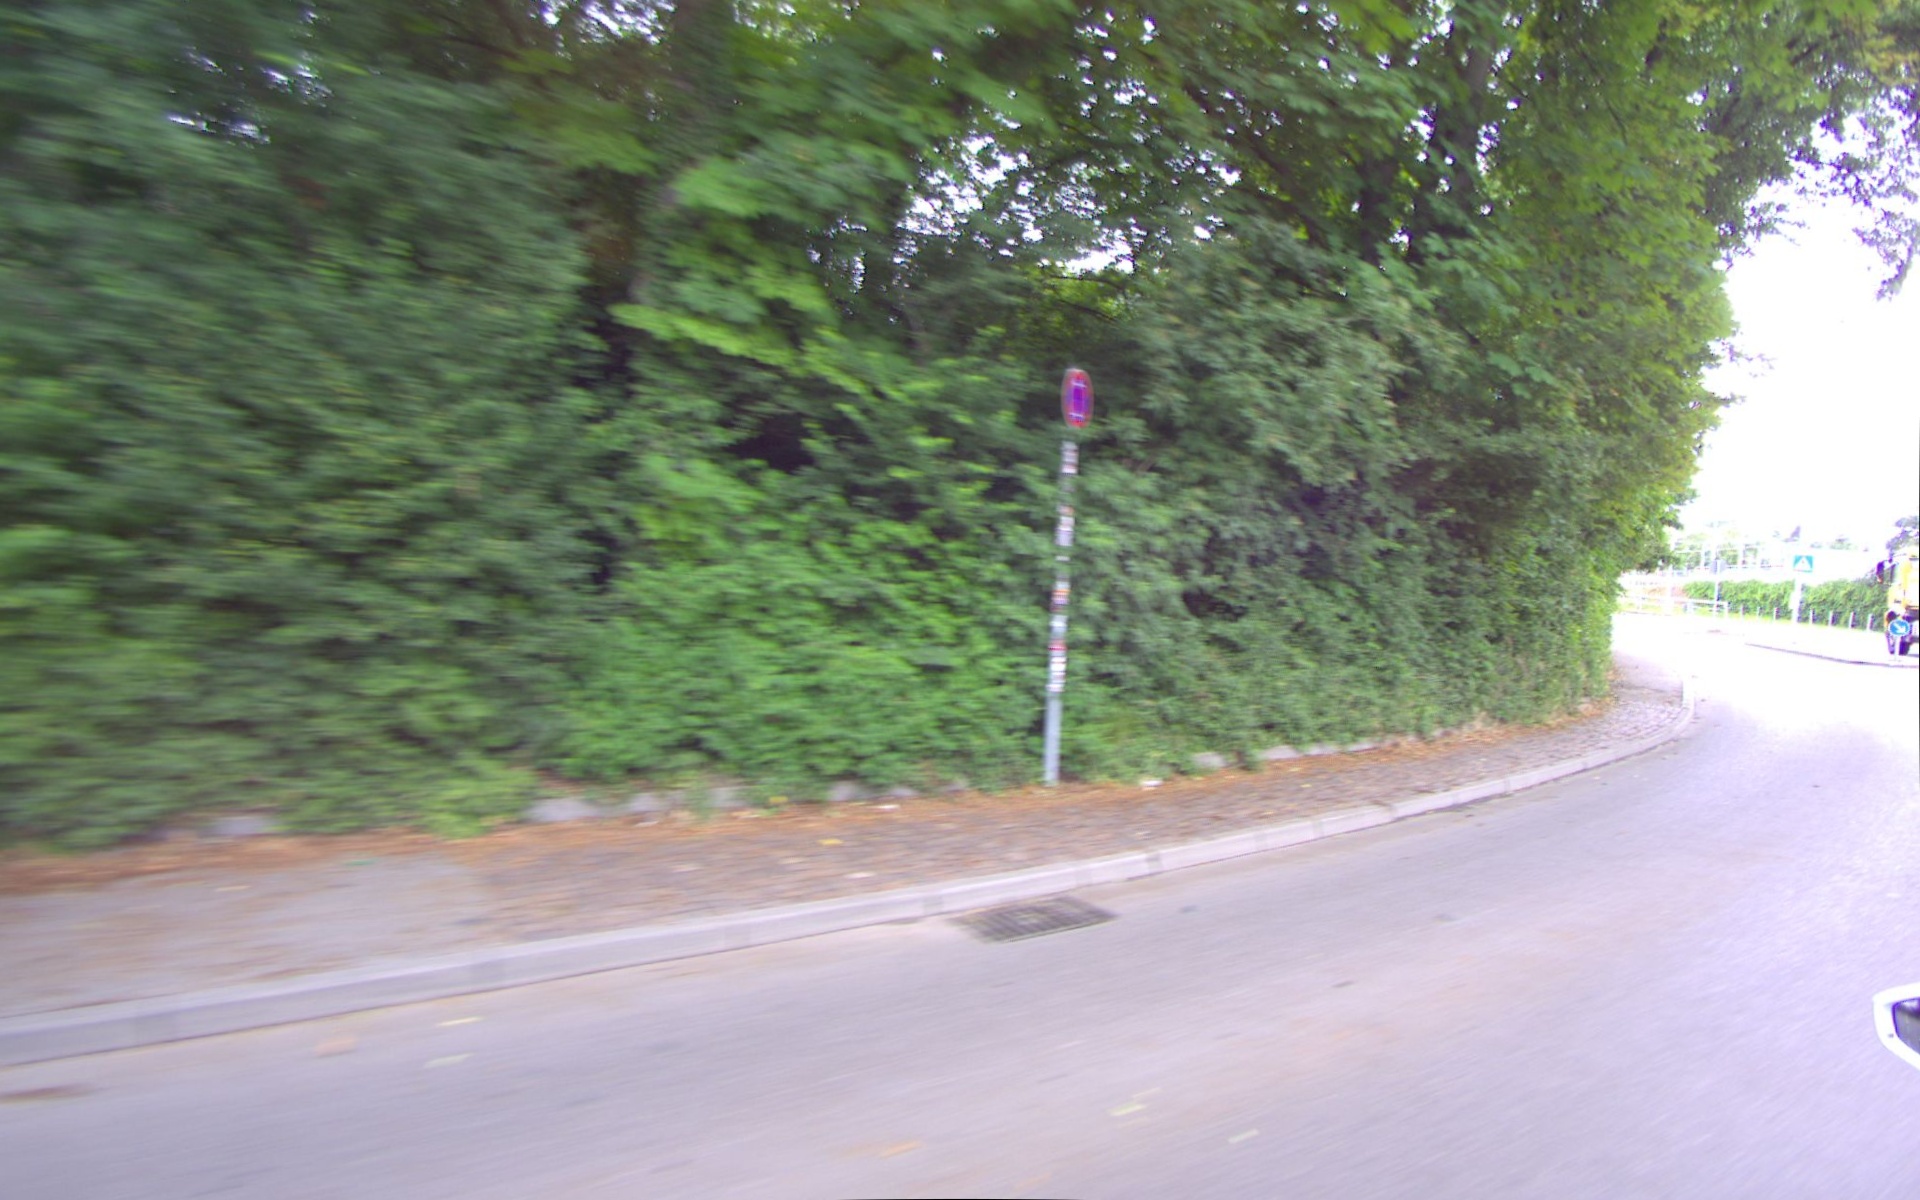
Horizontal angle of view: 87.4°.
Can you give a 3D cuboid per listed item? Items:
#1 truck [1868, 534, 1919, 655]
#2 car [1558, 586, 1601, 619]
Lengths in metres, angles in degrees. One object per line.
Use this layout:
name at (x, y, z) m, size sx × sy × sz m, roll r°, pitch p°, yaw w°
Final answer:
truck at (29.683, -0.128, 29.493) m, size 2.725 × 3.531 × 8.109 m, roll 4°, pitch 4°, yaw 31°
car at (32.273, 0.111, 52.417) m, size 1.776 × 1.631 × 4.167 m, roll 0°, pitch 0°, yaw 30°
